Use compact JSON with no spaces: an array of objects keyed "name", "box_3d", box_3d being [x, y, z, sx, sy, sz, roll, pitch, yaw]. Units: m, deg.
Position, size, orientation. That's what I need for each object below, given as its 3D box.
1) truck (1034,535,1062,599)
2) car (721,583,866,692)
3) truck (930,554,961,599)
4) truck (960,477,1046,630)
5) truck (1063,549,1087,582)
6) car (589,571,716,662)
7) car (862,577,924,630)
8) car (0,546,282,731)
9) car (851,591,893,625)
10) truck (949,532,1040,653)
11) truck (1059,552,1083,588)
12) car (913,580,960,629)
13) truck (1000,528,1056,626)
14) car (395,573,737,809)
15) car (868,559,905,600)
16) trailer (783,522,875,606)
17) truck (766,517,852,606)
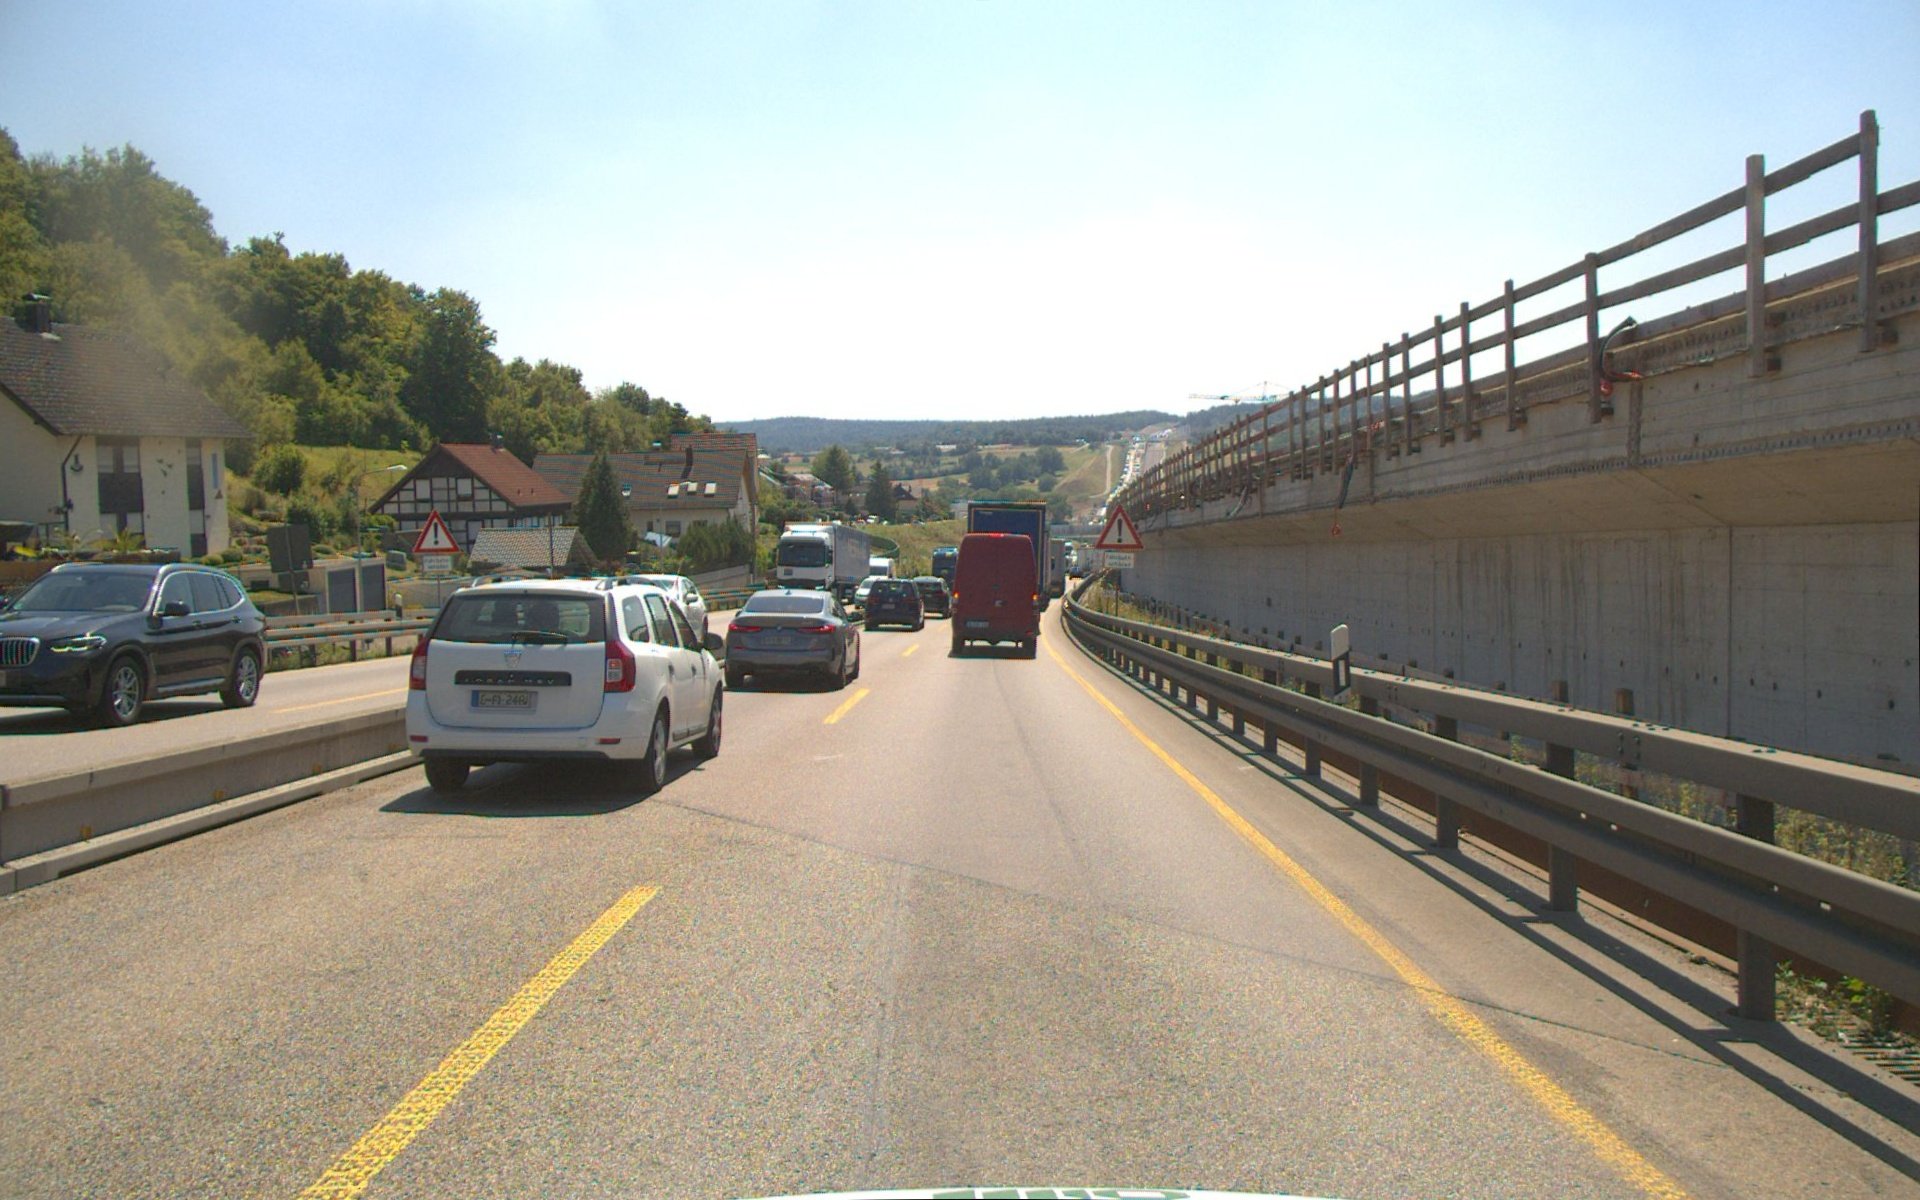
[{"name":"truck","box_3d":[6.345,-2.357,118.960,1.951,4.458,4.002,0,-1,4]},{"name":"car","box_3d":[-2.471,0.527,25.384,1.758,1.511,4.050,-1,0,1]},{"name":"truck","box_3d":[-1.362,-2.188,154.513,2.456,4.034,5.177,1,-1,4]},{"name":"truck","box_3d":[1.491,-1.436,57.915,2.728,4.900,9.686,0,-1,1]},{"name":"truck","box_3d":[16.517,-4.855,236.667,3.394,4.458,8.561,0,-1,4]},{"name":"car","box_3d":[-6.128,0.336,33.392,1.714,1.716,4.387,0,-1,0]},{"name":"car","box_3d":[-2.144,0.133,53.917,1.772,1.636,3.719,0,-1,2]},{"name":"car","box_3d":[-9.356,0.391,18.236,1.867,1.773,4.661,0,-1,-1]},{"name":"car","box_3d":[-4.261,0.366,80.430,1.636,1.562,4.192,0,1,2]},{"name":"truck","box_3d":[0.781,-0.136,38.126,1.952,2.624,4.000,0,-1,1]},{"name":"truck","box_3d":[14.428,-3.845,215.150,3.004,4.458,8.561,0,-1,4]},{"name":"car","box_3d":[-0.909,0.189,65.675,1.693,1.870,4.000,0,-1,1]},{"name":"truck","box_3d":[3.516,-1.094,87.224,2.728,4.900,9.686,0,-1,1]},{"name":"car","box_3d":[-2.884,0.607,13.045,1.618,1.509,4.266,-2,0,0]},{"name":"car","box_3d":[-4.914,-1.372,111.332,1.963,2.649,5.981,0,1,2]},{"name":"trailer","box_3d":[-6.806,-1.862,87.983,3.069,4.150,11.826,0,1,4]},{"name":"truck","box_3d":[-7.312,-1.840,81.139,3.069,4.150,6.883,0,1,4]}]
